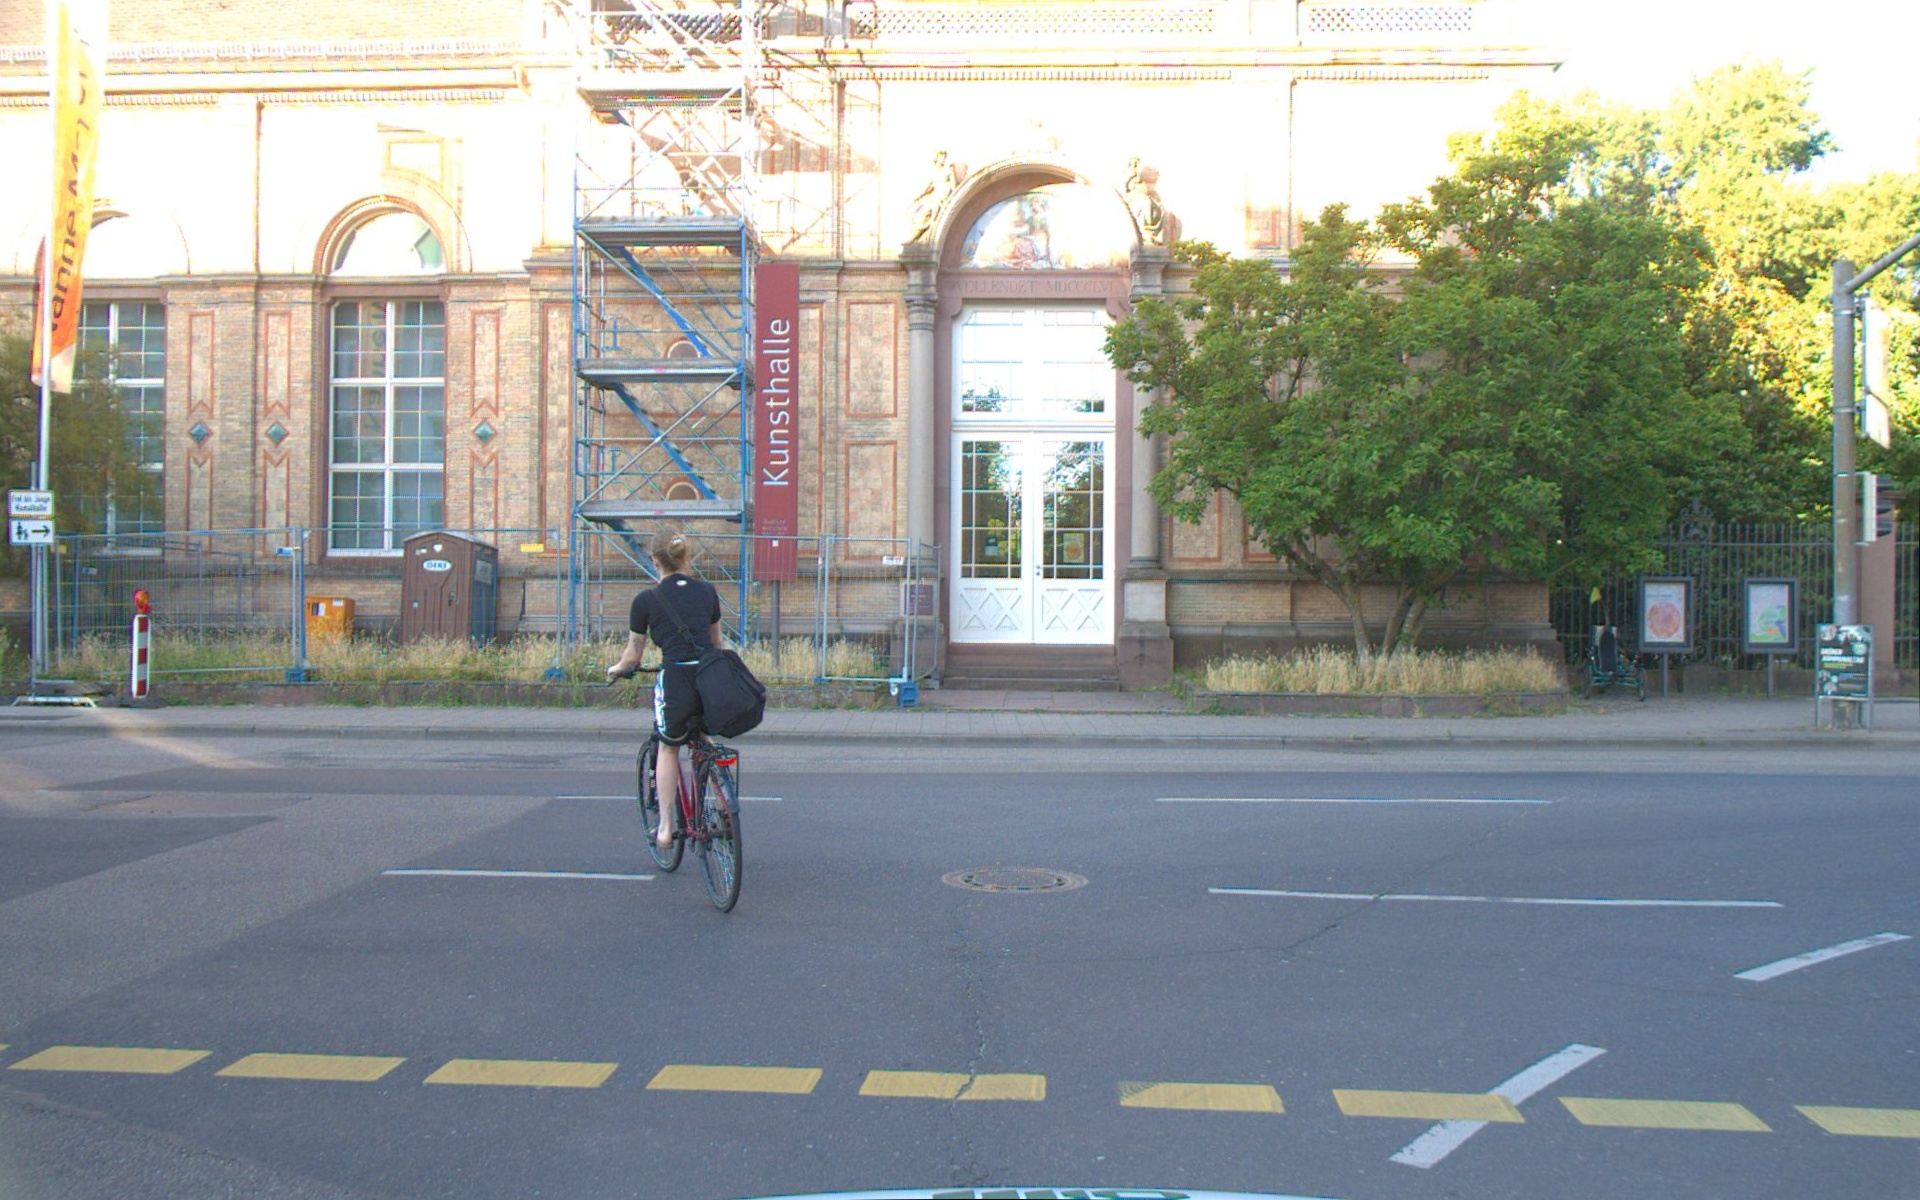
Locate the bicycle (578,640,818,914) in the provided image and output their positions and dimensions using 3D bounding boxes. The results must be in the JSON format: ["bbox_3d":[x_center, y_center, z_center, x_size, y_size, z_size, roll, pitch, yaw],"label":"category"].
[{"bbox_3d":[-1.360,0.794,8.233,0.702,1.176,2.054,1,-2,-23],"label":"bicycle"}]

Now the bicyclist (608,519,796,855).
[{"bbox_3d":[-1.271,0.411,8.065,0.706,1.529,0.844,1,-2,-24],"label":"bicyclist"}]
